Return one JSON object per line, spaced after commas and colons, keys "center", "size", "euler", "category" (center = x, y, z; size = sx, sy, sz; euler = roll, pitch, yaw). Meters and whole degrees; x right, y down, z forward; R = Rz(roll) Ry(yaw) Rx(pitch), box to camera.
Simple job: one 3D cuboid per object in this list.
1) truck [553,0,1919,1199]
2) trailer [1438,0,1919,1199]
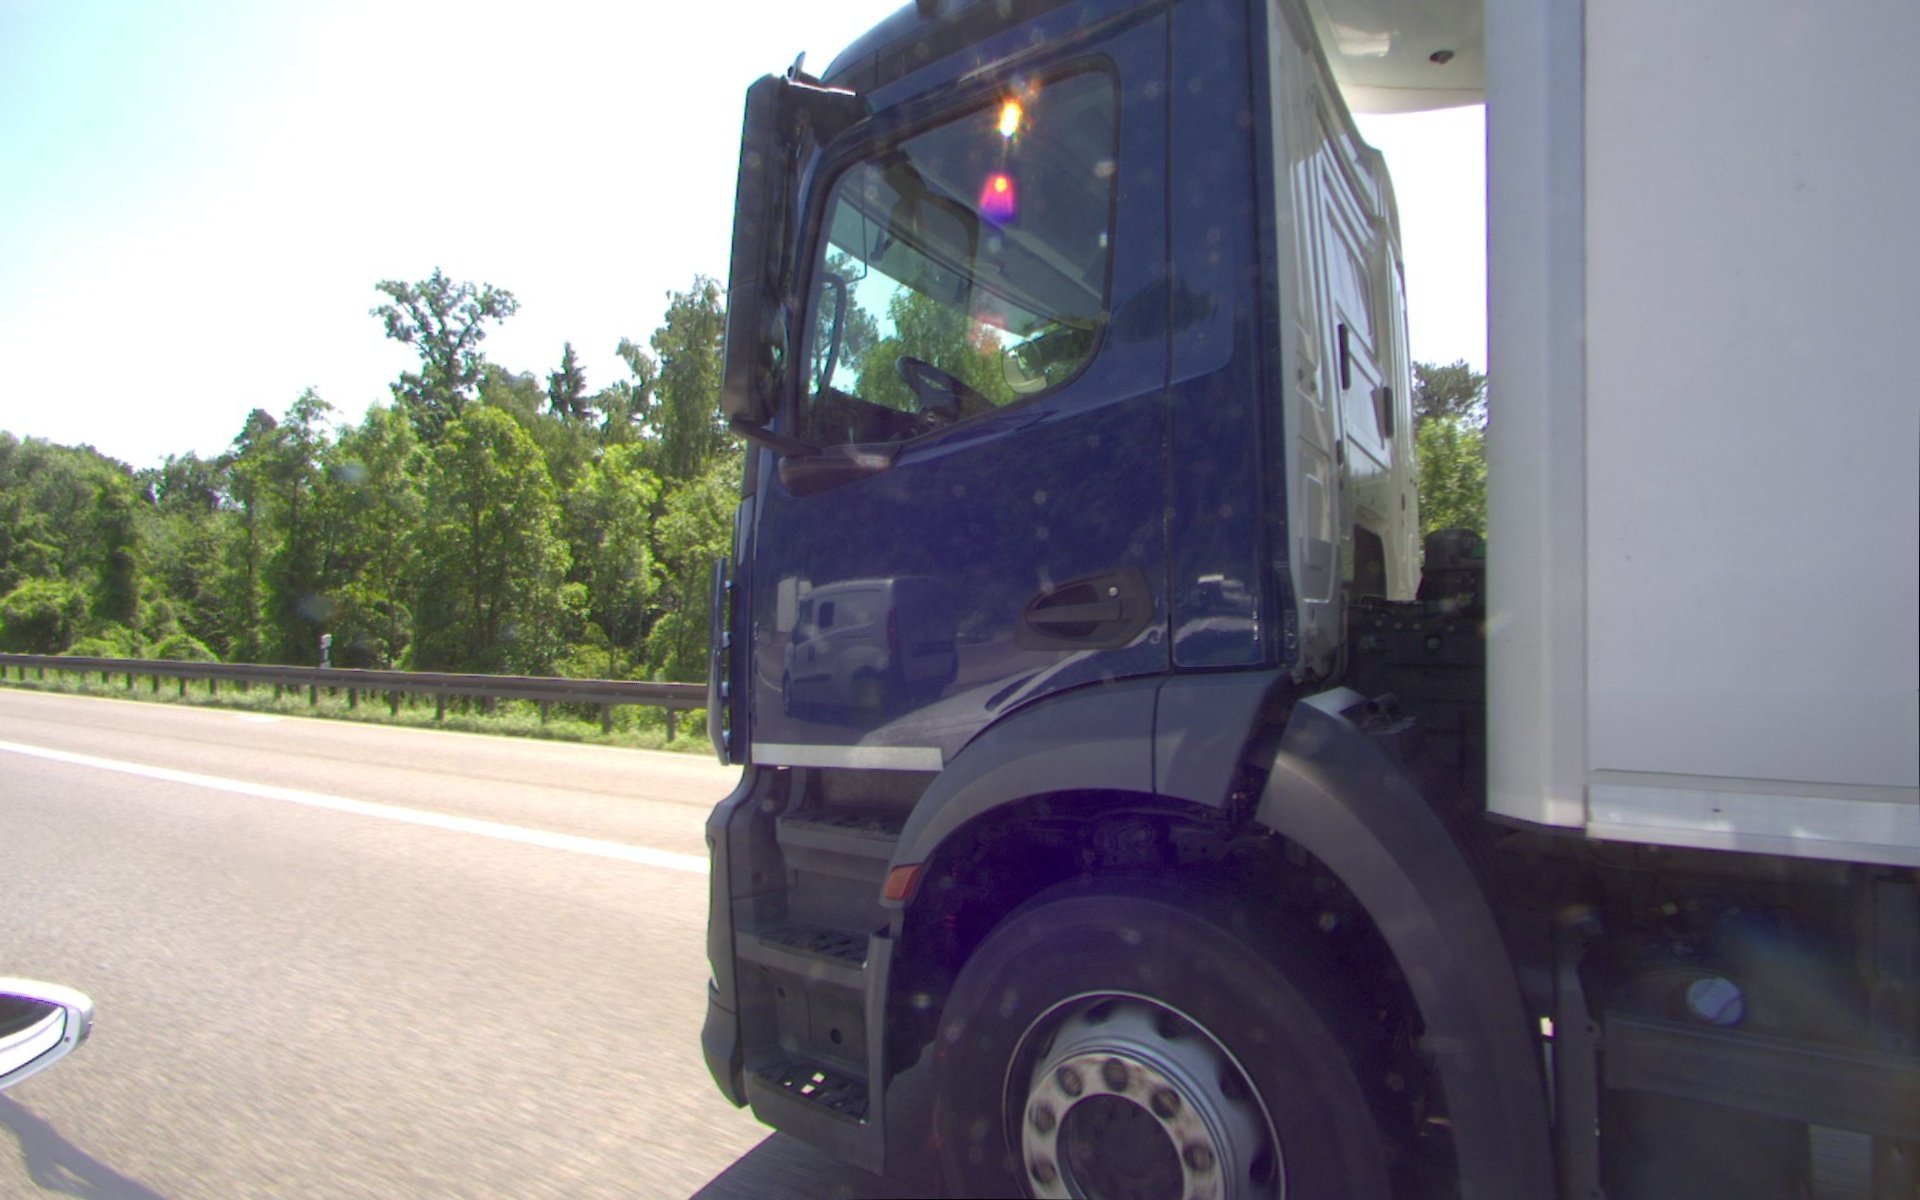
{"center": [1.434, 0.070, 2.360], "size": [4.047, 2.979, 2.550], "euler": [-2, -1, 33], "category": "truck"}
{"center": [4.590, -0.038, 0.379], "size": [7.767, 2.936, 2.552], "euler": [-1, -1, 32], "category": "trailer"}
